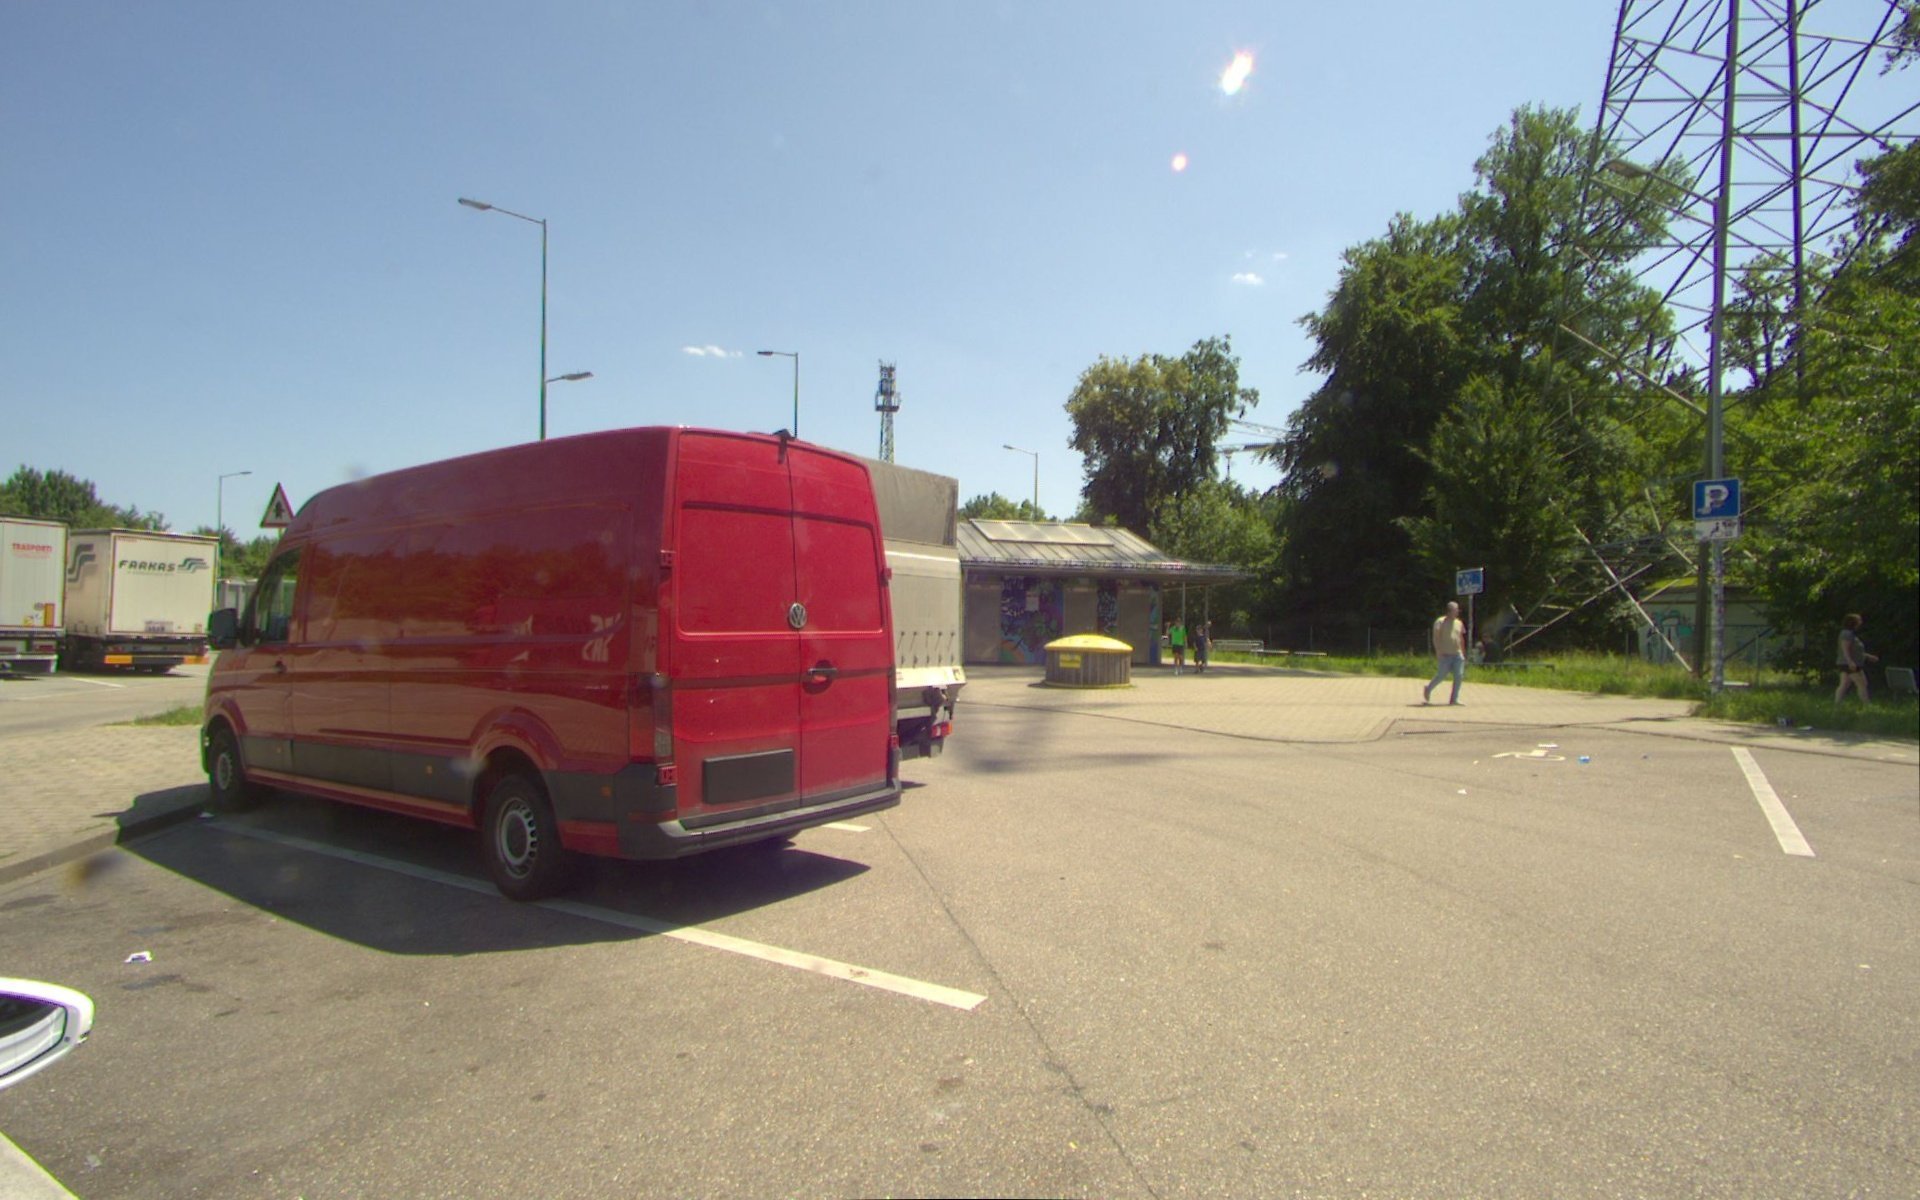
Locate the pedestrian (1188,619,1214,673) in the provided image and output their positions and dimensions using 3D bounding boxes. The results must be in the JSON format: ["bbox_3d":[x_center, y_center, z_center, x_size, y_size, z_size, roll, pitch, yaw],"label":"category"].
[{"bbox_3d":[6.289,1.208,26.155,0.532,1.392,0.583,0,-1,0],"label":"pedestrian"}]

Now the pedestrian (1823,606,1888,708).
[{"bbox_3d":[15.128,0.957,16.919,0.680,1.670,0.709,1,-2,-39],"label":"pedestrian"}]

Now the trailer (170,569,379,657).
[{"bbox_3d":[-32.482,0.487,47.087,13.561,3.646,2.854,1,-2,32],"label":"trailer"}]

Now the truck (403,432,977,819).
[{"bbox_3d":[-3.094,0.275,10.508,6.372,2.944,2.411,-1,-2,37],"label":"truck"}]

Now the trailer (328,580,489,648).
[{"bbox_3d":[-36.174,0.852,65.326,13.561,3.955,2.854,1,-2,32],"label":"trailer"}]

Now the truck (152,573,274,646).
[{"bbox_3d":[-37.553,0.477,50.311,5.887,3.406,2.862,1,-2,32],"label":"truck"}]

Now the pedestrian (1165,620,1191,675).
[{"bbox_3d":[5.551,1.205,25.531,0.532,1.392,0.583,0,-1,0],"label":"pedestrian"}]

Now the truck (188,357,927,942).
[{"bbox_3d":[-3.345,0.302,7.323,6.372,2.685,2.005,-1,-2,37],"label":"truck"}]

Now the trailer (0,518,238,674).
[{"bbox_3d":[-27.621,-0.169,31.597,13.561,4.162,2.854,1,-2,32],"label":"trailer"}]

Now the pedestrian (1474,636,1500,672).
[{"bbox_3d":[14.636,1.503,27.802,0.439,0.987,0.460,0,-1,-19],"label":"pedestrian"}]

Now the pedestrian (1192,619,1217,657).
[{"bbox_3d":[10.785,1.670,44.165,0.802,1.639,0.916,-1,-1,32],"label":"pedestrian"}]

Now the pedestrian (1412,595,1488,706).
[{"bbox_3d":[8.752,0.890,17.907,0.799,1.929,0.920,0,-1,-15],"label":"pedestrian"}]

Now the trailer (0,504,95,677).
[{"bbox_3d":[-28.694,-0.342,28.010,13.561,4.162,2.854,1,-2,32],"label":"trailer"}]
